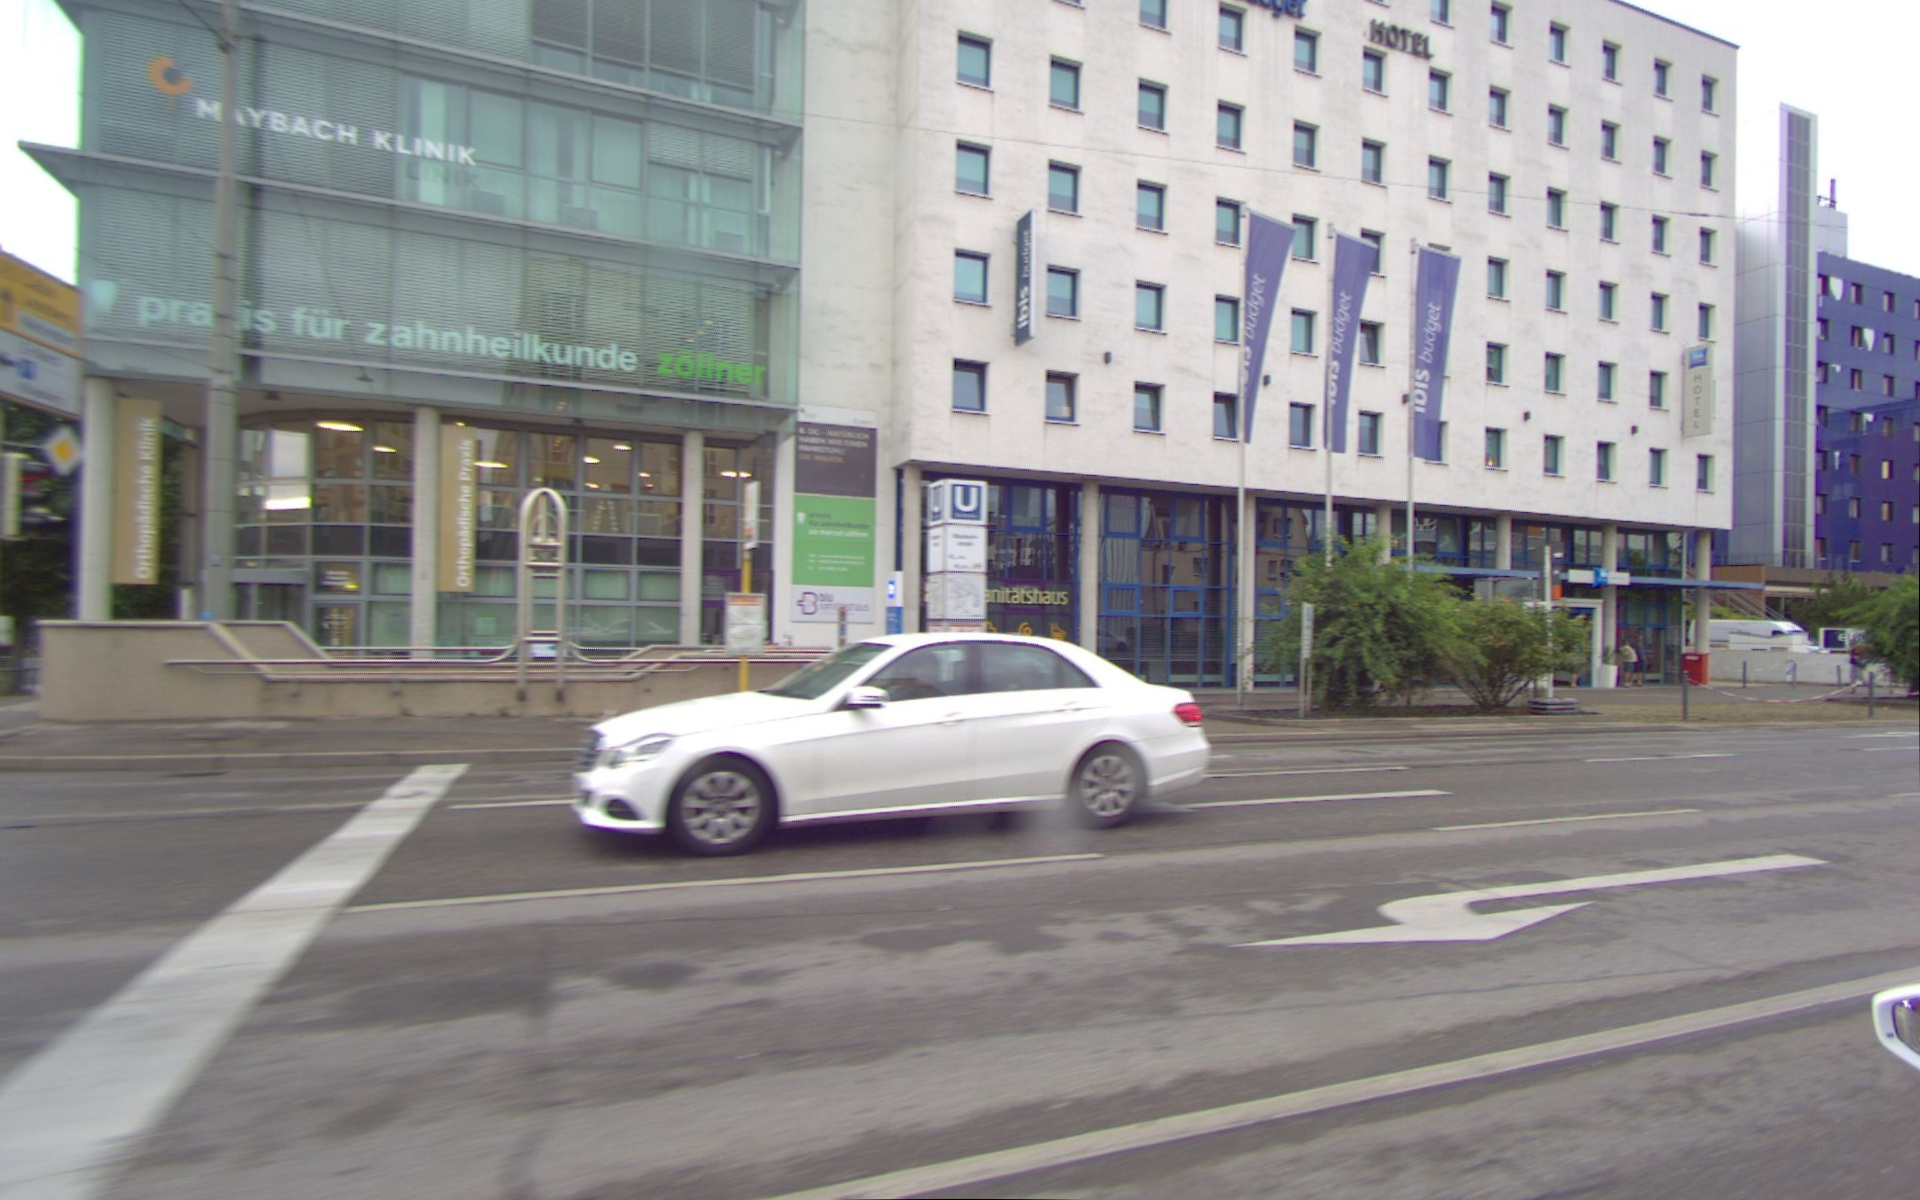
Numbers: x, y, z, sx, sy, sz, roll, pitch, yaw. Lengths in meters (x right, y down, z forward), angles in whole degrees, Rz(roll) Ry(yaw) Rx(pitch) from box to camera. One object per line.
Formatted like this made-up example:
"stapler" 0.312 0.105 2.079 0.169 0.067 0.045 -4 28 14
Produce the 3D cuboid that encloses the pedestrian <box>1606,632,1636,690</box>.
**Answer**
"pedestrian" 23.496 2.169 35.704 0.803 2.039 0.801 -1 -5 40

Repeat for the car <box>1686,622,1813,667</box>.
"car" 39.602 2.286 50.523 1.866 2.039 4.705 4 -5 -22

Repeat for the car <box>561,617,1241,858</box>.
"car" -0.395 0.901 7.702 4.893 1.405 1.813 2 -2 -24

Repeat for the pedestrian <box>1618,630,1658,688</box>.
"pedestrian" 24.468 2.132 36.262 0.883 2.039 0.816 1 -4 7

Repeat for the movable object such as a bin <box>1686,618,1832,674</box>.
"movable object such as a bin" 41.267 2.454 52.082 2.131 2.661 5.616 4 -5 -22

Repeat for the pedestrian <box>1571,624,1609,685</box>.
"pedestrian" 21.728 1.897 34.652 0.803 2.039 0.801 3 -4 -21
